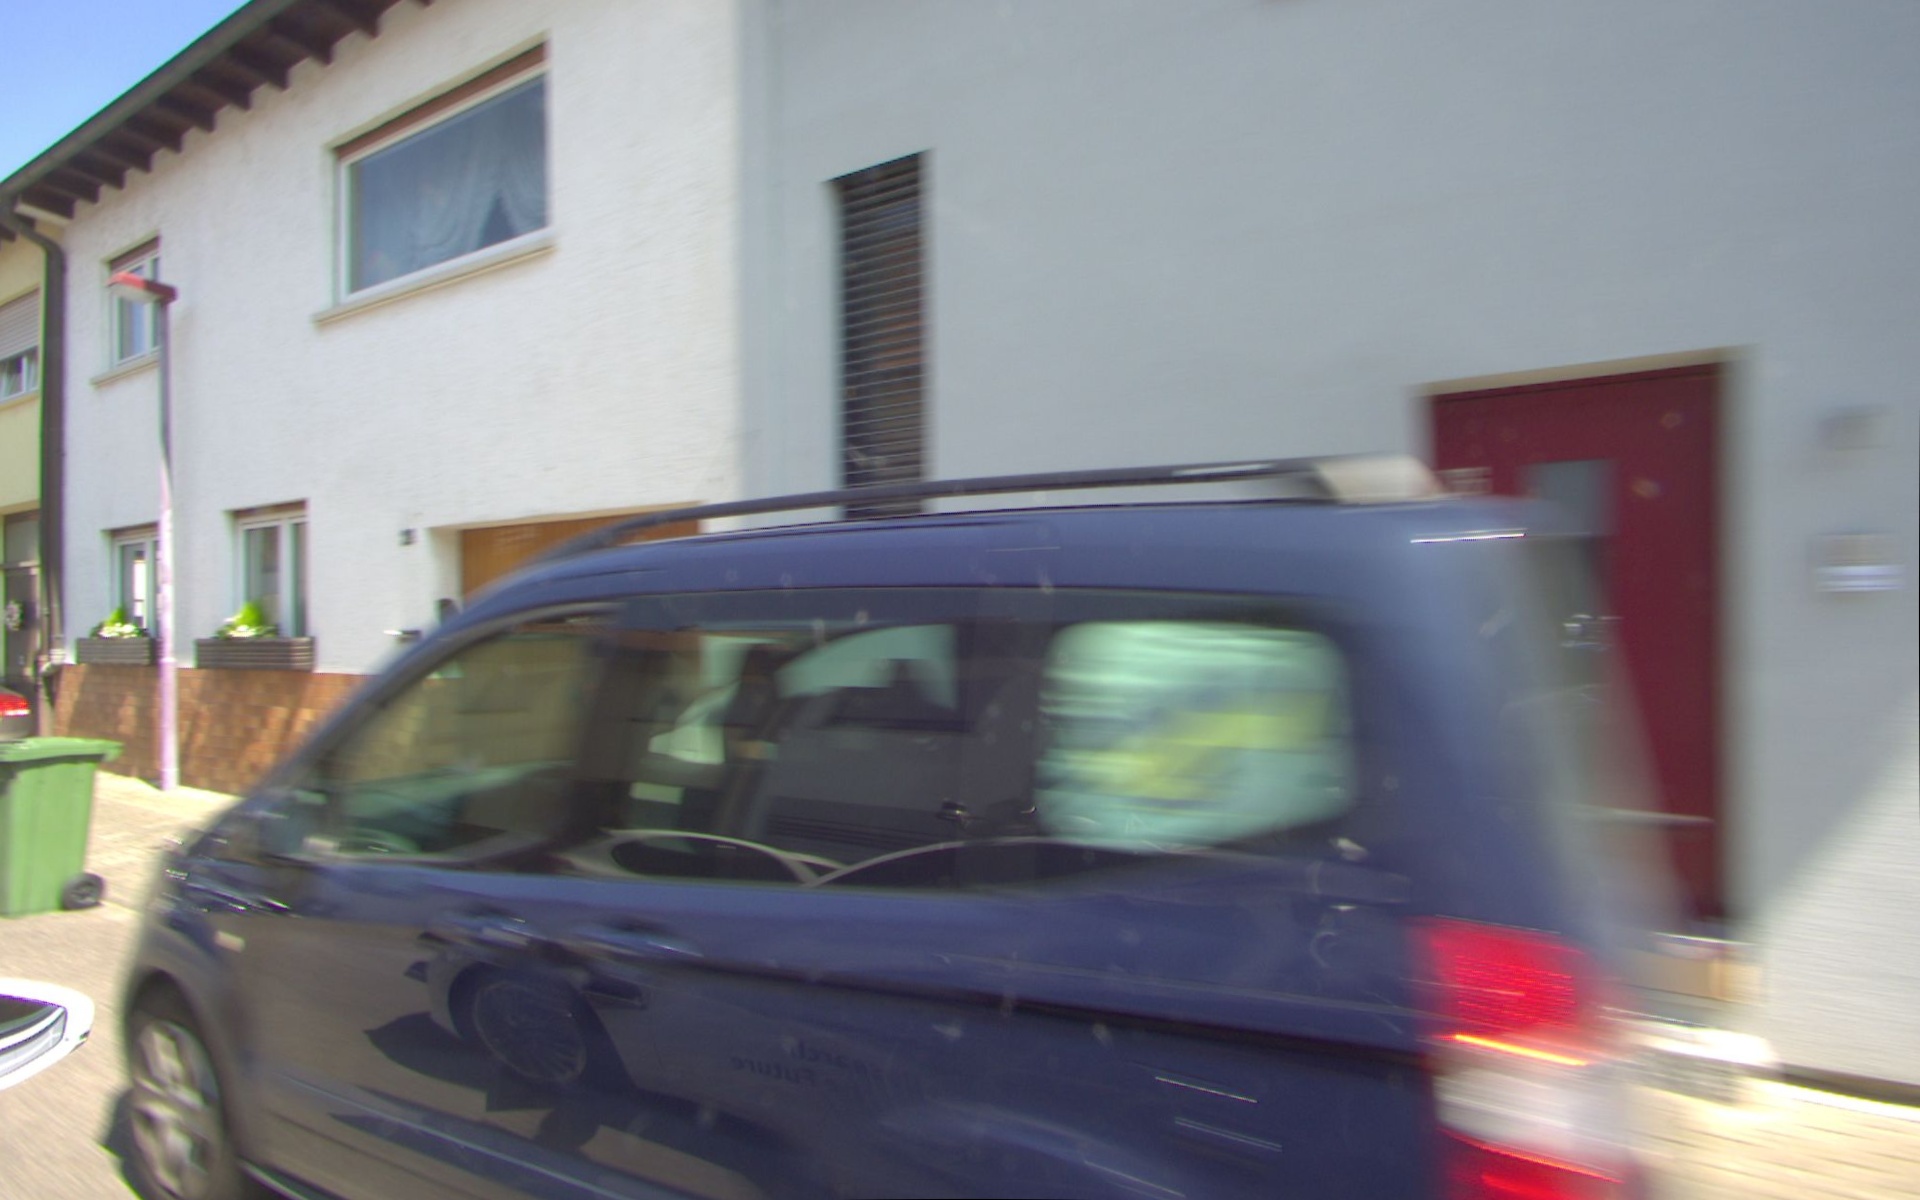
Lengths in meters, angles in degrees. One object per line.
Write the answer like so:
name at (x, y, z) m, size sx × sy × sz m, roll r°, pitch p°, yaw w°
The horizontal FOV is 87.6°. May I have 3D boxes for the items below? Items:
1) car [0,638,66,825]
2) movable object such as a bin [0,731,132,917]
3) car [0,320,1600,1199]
car at (-9.441, 1.040, 8.434) m, size 4.042 × 1.453 × 1.695 m, roll -1°, pitch -2°, yaw 30°
movable object such as a bin at (-5.143, 1.226, 5.636) m, size 0.570 × 0.903 × 0.550 m, roll -1°, pitch -1°, yaw 25°
car at (-0.770, 0.707, 2.712) m, size 4.137 × 1.800 × 1.695 m, roll -1°, pitch -2°, yaw 30°
